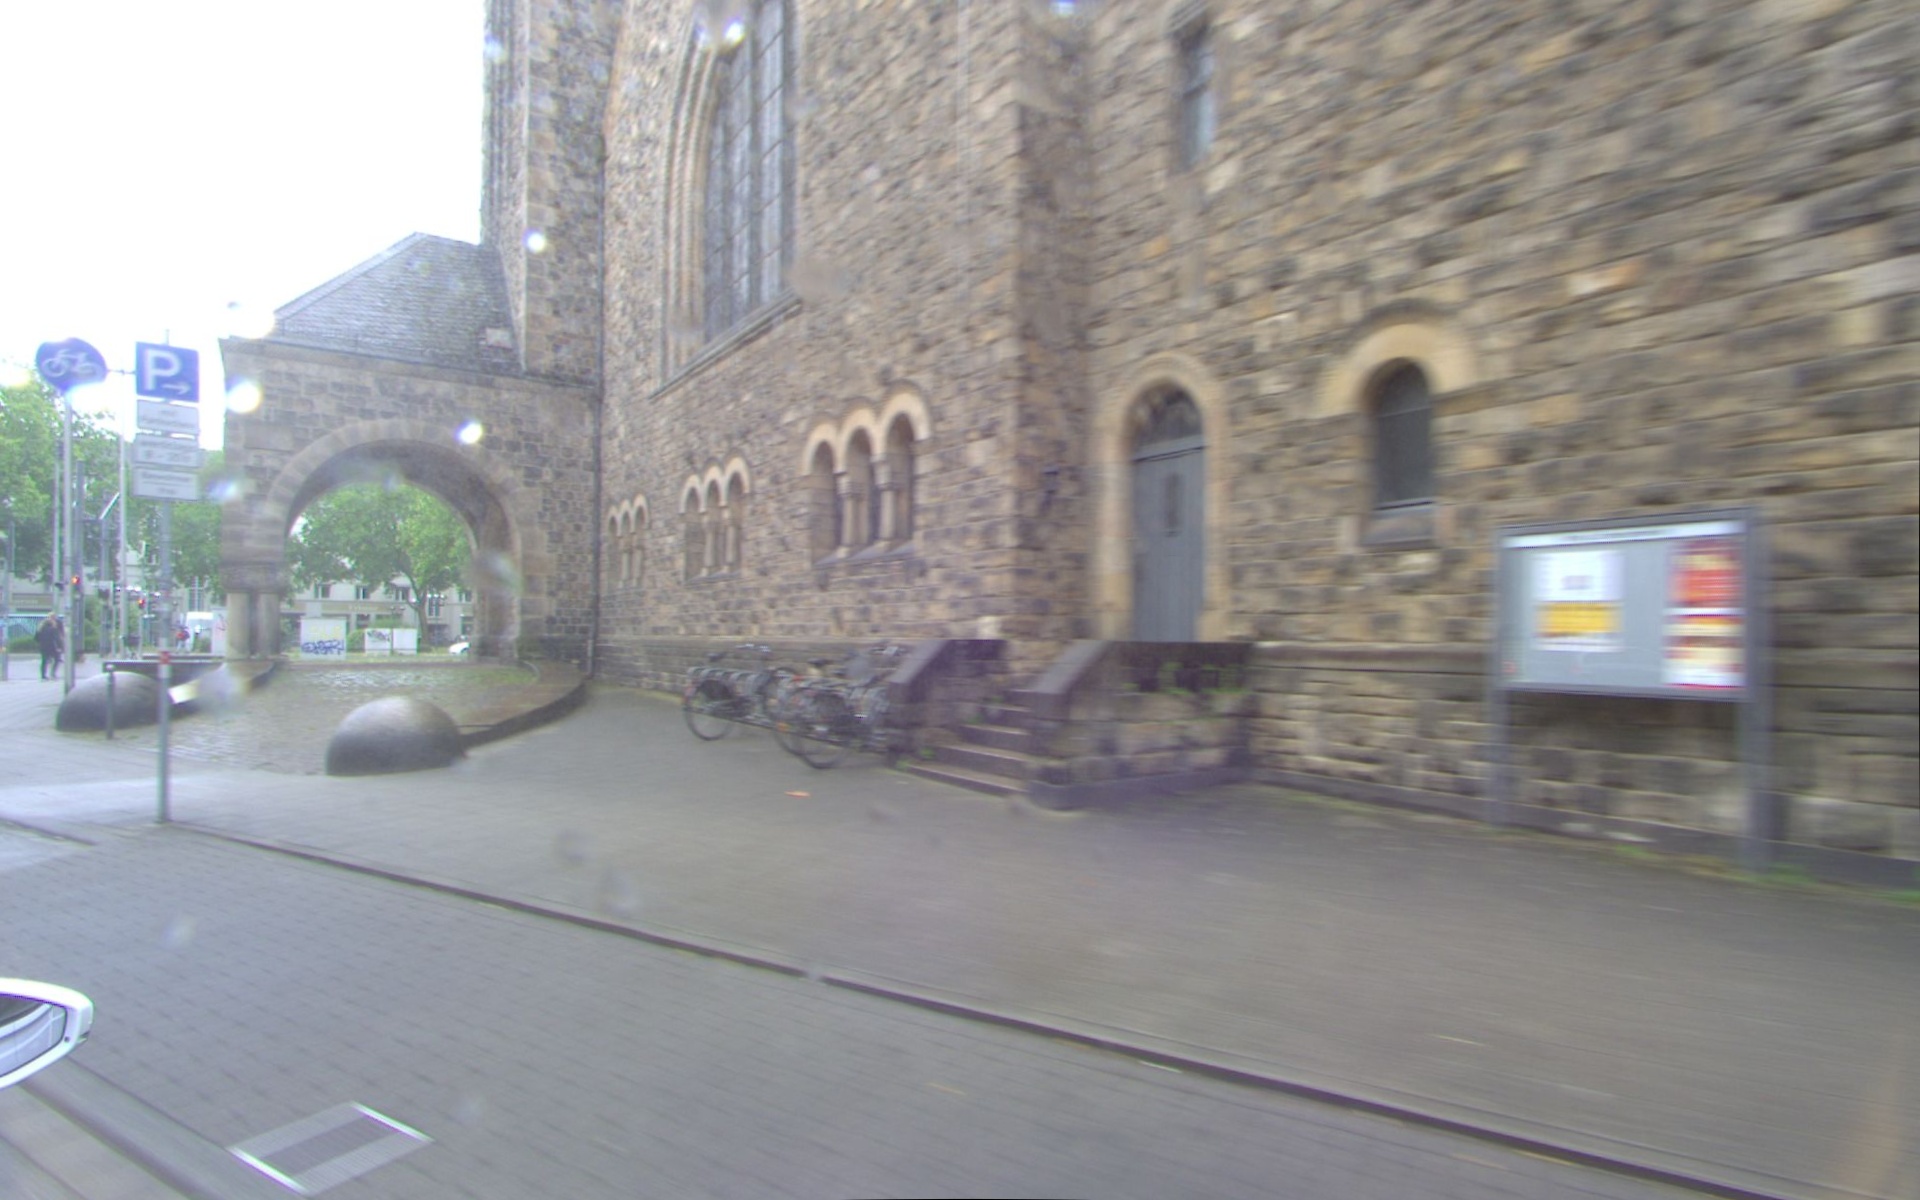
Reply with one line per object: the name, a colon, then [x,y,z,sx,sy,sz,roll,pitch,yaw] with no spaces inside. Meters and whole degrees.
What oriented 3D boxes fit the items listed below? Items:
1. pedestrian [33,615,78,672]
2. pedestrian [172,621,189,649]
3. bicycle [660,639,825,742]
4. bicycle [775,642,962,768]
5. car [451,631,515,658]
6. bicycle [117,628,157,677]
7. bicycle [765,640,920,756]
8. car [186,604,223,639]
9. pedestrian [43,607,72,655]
pedestrian: [-26.747,1.269,29.619,0.772,1.667,0.653,0,0,-20]
pedestrian: [-45.800,2.062,58.851,0.666,1.573,0.758,1,-2,-29]
bicycle: [-2.685,1.085,12.534,0.684,1.119,1.973,-1,0,43]
bicycle: [-0.866,0.992,9.980,1.971,1.068,0.508,-1,0,-44]
car: [-29.125,2.723,61.175,3.401,1.572,1.584,1,-1,-32]
bicycle: [-20.443,1.287,24.861,2.049,1.169,0.327,0,-1,38]
bicycle: [-1.266,1.036,11.041,1.697,1.126,0.556,-1,0,-44]
car: [-57.051,1.626,75.712,1.888,2.588,4.758,1,-2,-33]
pedestrian: [-33.925,1.173,37.645,0.780,1.782,0.936,1,-1,-43]
